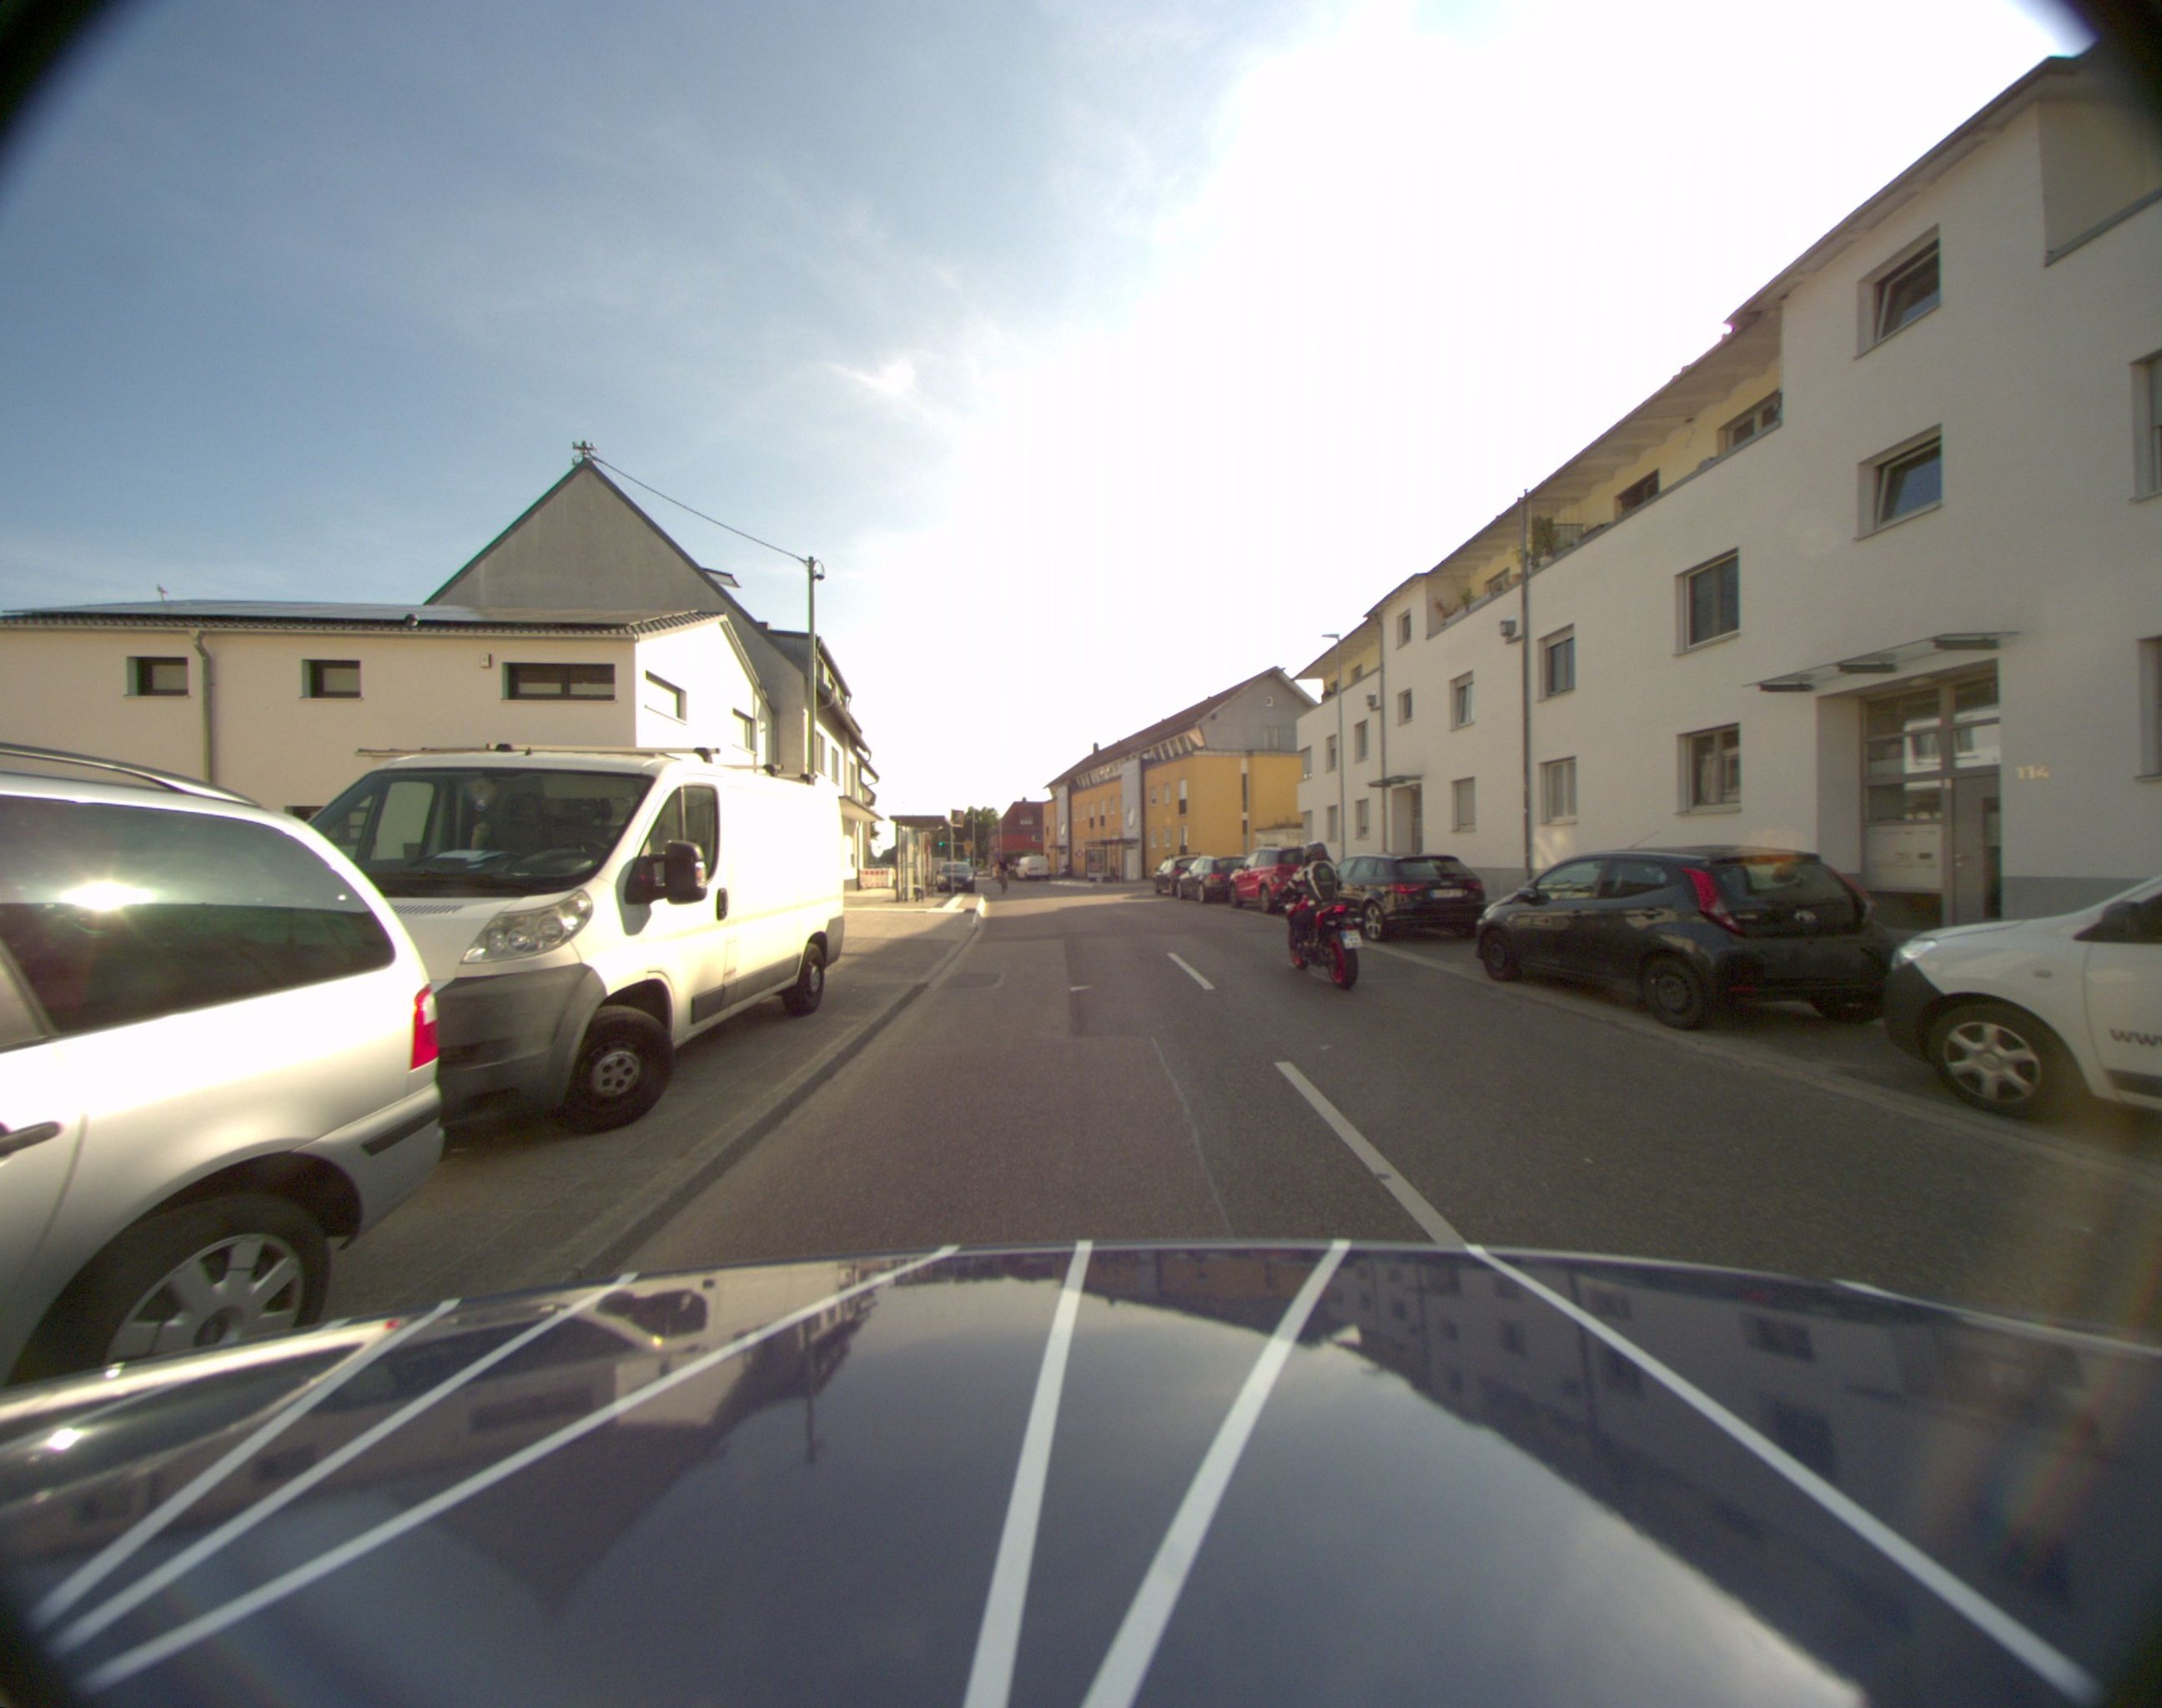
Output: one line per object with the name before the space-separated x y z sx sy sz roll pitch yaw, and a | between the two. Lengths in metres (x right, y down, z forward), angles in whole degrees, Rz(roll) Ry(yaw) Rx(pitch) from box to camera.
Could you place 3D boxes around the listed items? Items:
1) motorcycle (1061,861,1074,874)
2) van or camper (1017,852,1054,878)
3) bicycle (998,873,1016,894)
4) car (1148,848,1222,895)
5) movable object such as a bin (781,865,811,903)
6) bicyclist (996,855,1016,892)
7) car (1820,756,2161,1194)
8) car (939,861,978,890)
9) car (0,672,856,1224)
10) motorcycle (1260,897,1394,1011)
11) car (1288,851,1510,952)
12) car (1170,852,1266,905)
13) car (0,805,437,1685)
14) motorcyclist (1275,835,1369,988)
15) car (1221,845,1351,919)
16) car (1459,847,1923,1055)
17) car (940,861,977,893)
motorcycle | -1.267 1.252 69.152 0.584 1.176 1.875 -2 0 -19
van or camper | -3.808 0.878 62.678 2.001 1.991 4.914 -1 0 -16
bicycle | -3.438 1.357 35.246 0.680 0.849 2.025 -2 0 -9
car | 4.006 0.666 29.907 1.781 1.612 4.175 -3 0 -7
movable object such as a bin | -8.306 0.856 22.141 0.698 1.087 0.558 0 0 -5
bicyclist | -3.482 0.894 35.356 0.846 1.679 0.877 -2 0 -9
car | 5.705 0.513 2.666 1.732 1.949 4.437 -2 0 -3
car | -6.630 1.129 40.809 1.721 1.389 4.329 2 -1 -13
car | -3.497 0.413 5.703 2.180 2.314 4.997 0 0 -1
motorcycle | 2.710 1.057 8.669 0.770 0.979 2.199 -1 0 -1
car | 5.354 0.713 13.493 1.732 1.469 4.261 -1 0 -7
car | 4.278 0.722 24.416 1.732 1.469 4.500 -2 0 -7
car | -3.012 0.763 0.251 1.782 1.731 4.483 1 0 0
motorcyclist | 2.708 0.620 8.620 0.771 1.642 0.843 -1 1 -1
car | 5.010 0.619 19.245 1.732 1.613 4.261 -2 0 -6
car | 5.345 0.703 7.307 1.497 1.456 3.513 -2 0 -3
car | -5.805 1.054 35.937 1.613 1.412 3.916 0 0 -9
